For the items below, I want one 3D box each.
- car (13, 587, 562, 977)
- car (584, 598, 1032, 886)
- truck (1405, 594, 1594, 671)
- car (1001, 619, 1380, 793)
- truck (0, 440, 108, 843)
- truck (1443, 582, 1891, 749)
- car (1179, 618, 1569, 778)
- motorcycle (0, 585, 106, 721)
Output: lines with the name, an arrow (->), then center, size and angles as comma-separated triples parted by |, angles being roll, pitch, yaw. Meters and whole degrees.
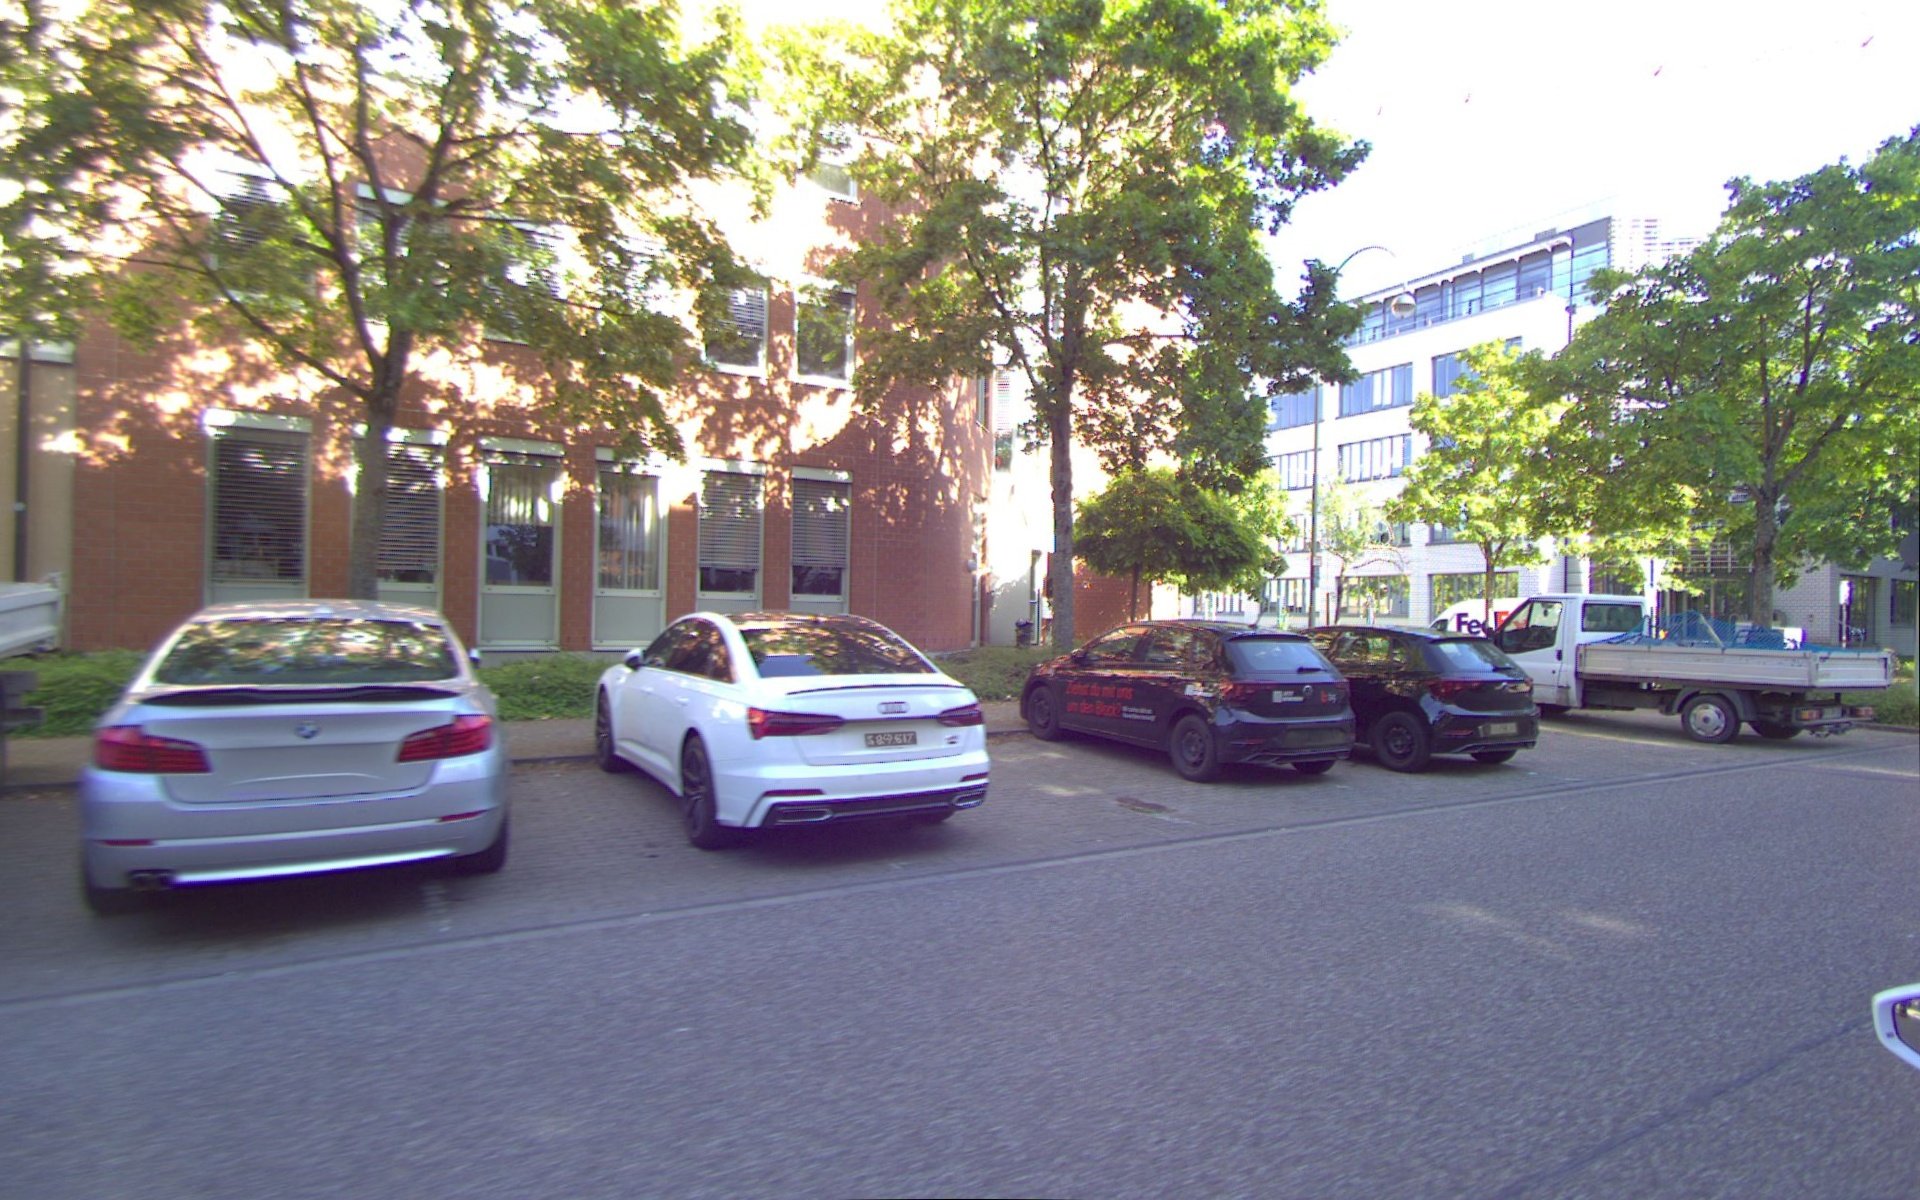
car -> -3.940, 0.703, 6.295 | 1.977, 1.507, 4.404 | 1, 0, -31
car -> -1.507, 0.764, 7.816 | 1.869, 1.461, 4.517 | 0, 1, -31
truck -> 20.798, 1.239, 39.044 | 2.549, 2.740, 6.072 | 1, -1, -31
car -> 2.203, 0.943, 10.656 | 1.701, 1.454, 3.968 | 1, -1, -30
truck -> -6.462, 0.230, 5.008 | 2.161, 2.454, 6.204 | 1, -1, -29
truck -> 9.957, 0.836, 14.676 | 2.111, 1.985, 4.965 | 1, -1, -28
car -> 4.557, 0.978, 11.668 | 1.767, 1.454, 3.970 | 1, -1, -29
motorcycle -> -11.780, 0.629, 12.148 | 2.086, 1.612, 0.710 | 1, -1, -32
